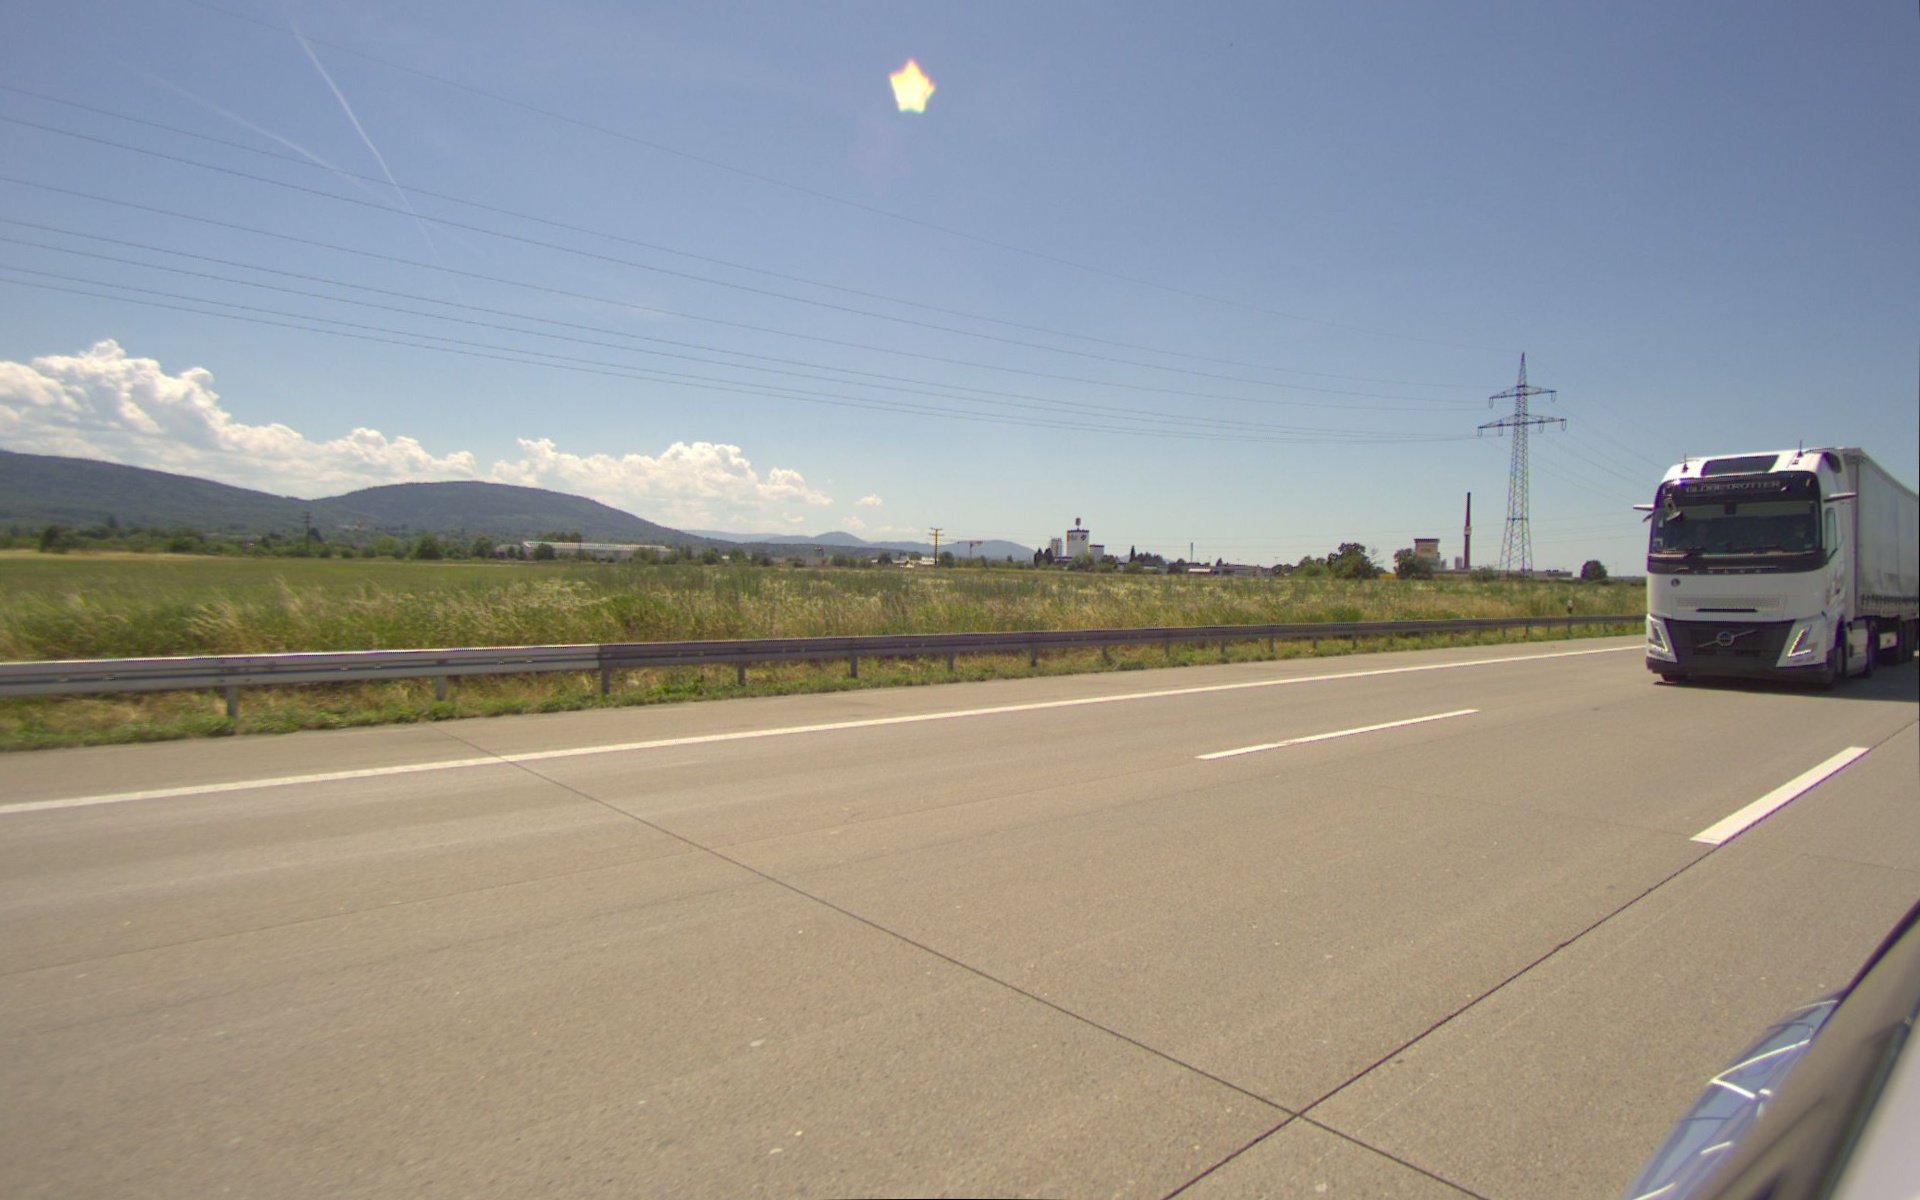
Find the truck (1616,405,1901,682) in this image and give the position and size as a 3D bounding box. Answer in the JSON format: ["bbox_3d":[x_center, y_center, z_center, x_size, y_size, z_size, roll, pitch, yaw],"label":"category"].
[{"bbox_3d":[14.232,-0.850,17.927,5.382,4.114,2.989,0,0,-41],"label":"truck"}]

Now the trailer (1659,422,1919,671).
[{"bbox_3d":[19.366,-0.888,22.437,13.958,4.112,3.023,0,0,-41],"label":"trailer"}]
